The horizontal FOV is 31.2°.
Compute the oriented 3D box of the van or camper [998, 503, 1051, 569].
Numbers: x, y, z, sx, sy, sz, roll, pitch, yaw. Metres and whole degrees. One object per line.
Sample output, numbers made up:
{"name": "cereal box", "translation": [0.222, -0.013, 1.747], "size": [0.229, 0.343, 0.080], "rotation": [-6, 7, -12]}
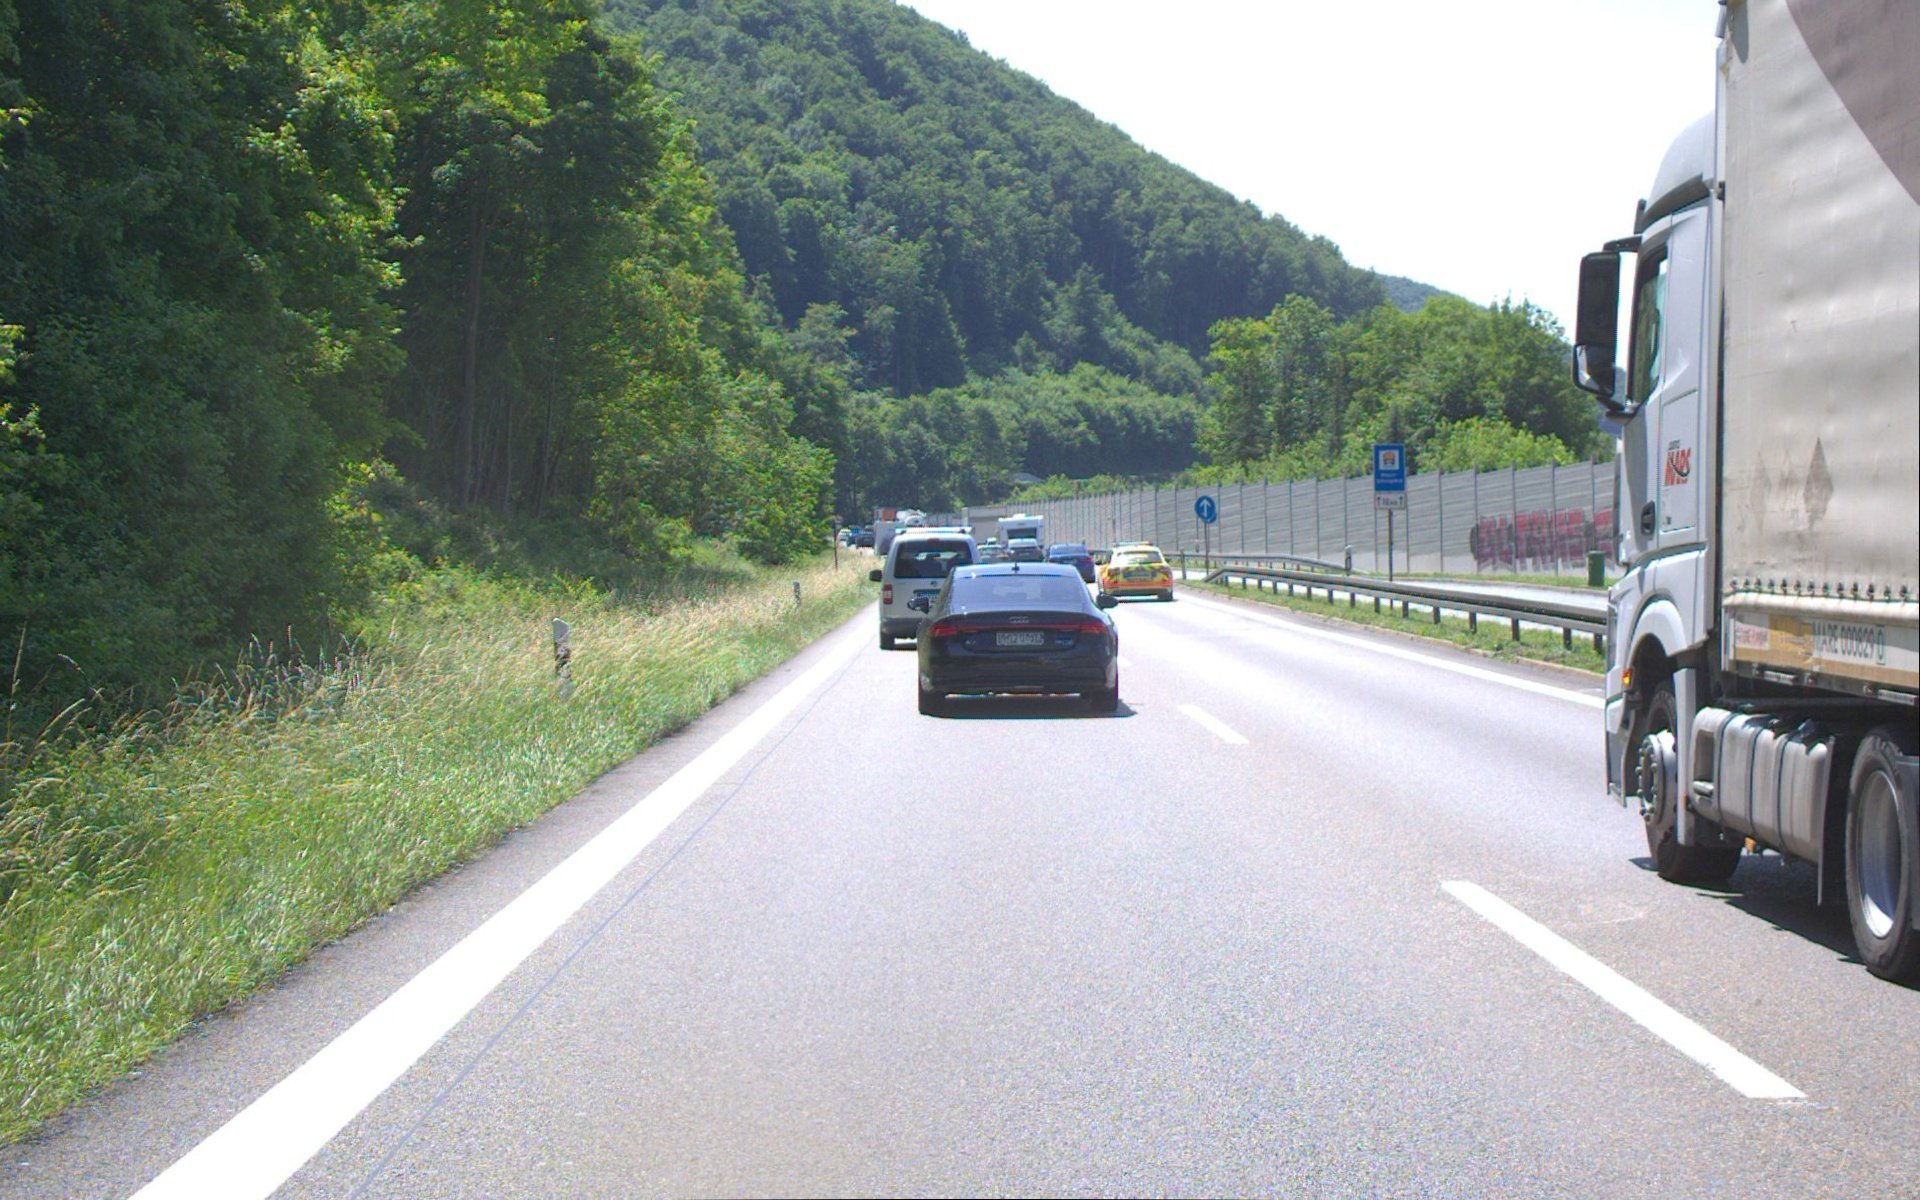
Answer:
{"name": "van or camper", "translation": [3.251, -3.202, 174.076], "size": [2.429, 3.144, 5.203], "rotation": [2, 0, 0]}

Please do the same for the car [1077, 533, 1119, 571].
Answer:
{"name": "car", "translation": [7.433, -2.615, 185.597], "size": [1.993, 2.007, 4.000], "rotation": [1, 1, -1]}

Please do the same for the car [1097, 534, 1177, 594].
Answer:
{"name": "car", "translation": [4.641, -0.956, 90.610], "size": [1.879, 1.493, 4.000], "rotation": [1, 1, 0]}

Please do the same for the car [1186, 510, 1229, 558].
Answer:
{"name": "car", "translation": [10.595, -2.829, 147.397], "size": [1.576, 2.007, 3.428], "rotation": [1, 1, 0]}

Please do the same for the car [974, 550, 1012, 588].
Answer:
{"name": "car", "translation": [1.382, -1.316, 145.857], "size": [1.530, 1.520, 3.597], "rotation": [2, 0, 0]}

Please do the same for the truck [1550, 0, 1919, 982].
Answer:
{"name": "truck", "translation": [4.422, -0.730, 14.353], "size": [2.719, 4.054, 5.754], "rotation": [2, 0, -1]}

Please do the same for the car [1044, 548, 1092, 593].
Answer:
{"name": "car", "translation": [3.801, -1.033, 121.212], "size": [1.530, 1.520, 3.597], "rotation": [2, 0, 0]}

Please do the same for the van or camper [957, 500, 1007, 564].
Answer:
{"name": "van or camper", "translation": [1.397, -4.342, 220.031], "size": [2.794, 3.894, 6.167], "rotation": [2, 0, -2]}

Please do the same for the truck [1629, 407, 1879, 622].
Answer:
{"name": "truck", "translation": [15.111, -1.618, 65.868], "size": [3.411, 3.887, 5.388], "rotation": [1, 1, 0]}

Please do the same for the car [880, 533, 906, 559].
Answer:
{"name": "car", "translation": [-4.193, -3.351, 214.487], "size": [1.489, 1.491, 3.590], "rotation": [2, 0, 0]}

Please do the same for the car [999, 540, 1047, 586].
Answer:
{"name": "car", "translation": [2.914, -1.712, 159.509], "size": [2.086, 2.007, 4.000], "rotation": [2, 0, 0]}

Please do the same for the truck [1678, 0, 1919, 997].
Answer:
{"name": "truck", "translation": [4.550, -0.705, 7.519], "size": [2.726, 4.054, 13.742], "rotation": [2, 0, -1]}

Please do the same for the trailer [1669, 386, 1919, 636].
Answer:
{"name": "trailer", "translation": [15.211, -1.480, 59.521], "size": [3.411, 3.887, 11.152], "rotation": [1, 1, 0]}

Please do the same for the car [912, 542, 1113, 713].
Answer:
{"name": "car", "translation": [0.478, 0.217, 32.845], "size": [1.812, 1.509, 3.514], "rotation": [0, 1, 0]}

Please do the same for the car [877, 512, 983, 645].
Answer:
{"name": "car", "translation": [-0.476, -0.342, 54.618], "size": [1.521, 1.961, 3.514], "rotation": [3, 0, -1]}

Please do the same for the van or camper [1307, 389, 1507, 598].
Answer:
{"name": "van or camper", "translation": [8.728, -2.017, 67.818], "size": [2.794, 3.828, 6.167], "rotation": [2, 0, -2]}
